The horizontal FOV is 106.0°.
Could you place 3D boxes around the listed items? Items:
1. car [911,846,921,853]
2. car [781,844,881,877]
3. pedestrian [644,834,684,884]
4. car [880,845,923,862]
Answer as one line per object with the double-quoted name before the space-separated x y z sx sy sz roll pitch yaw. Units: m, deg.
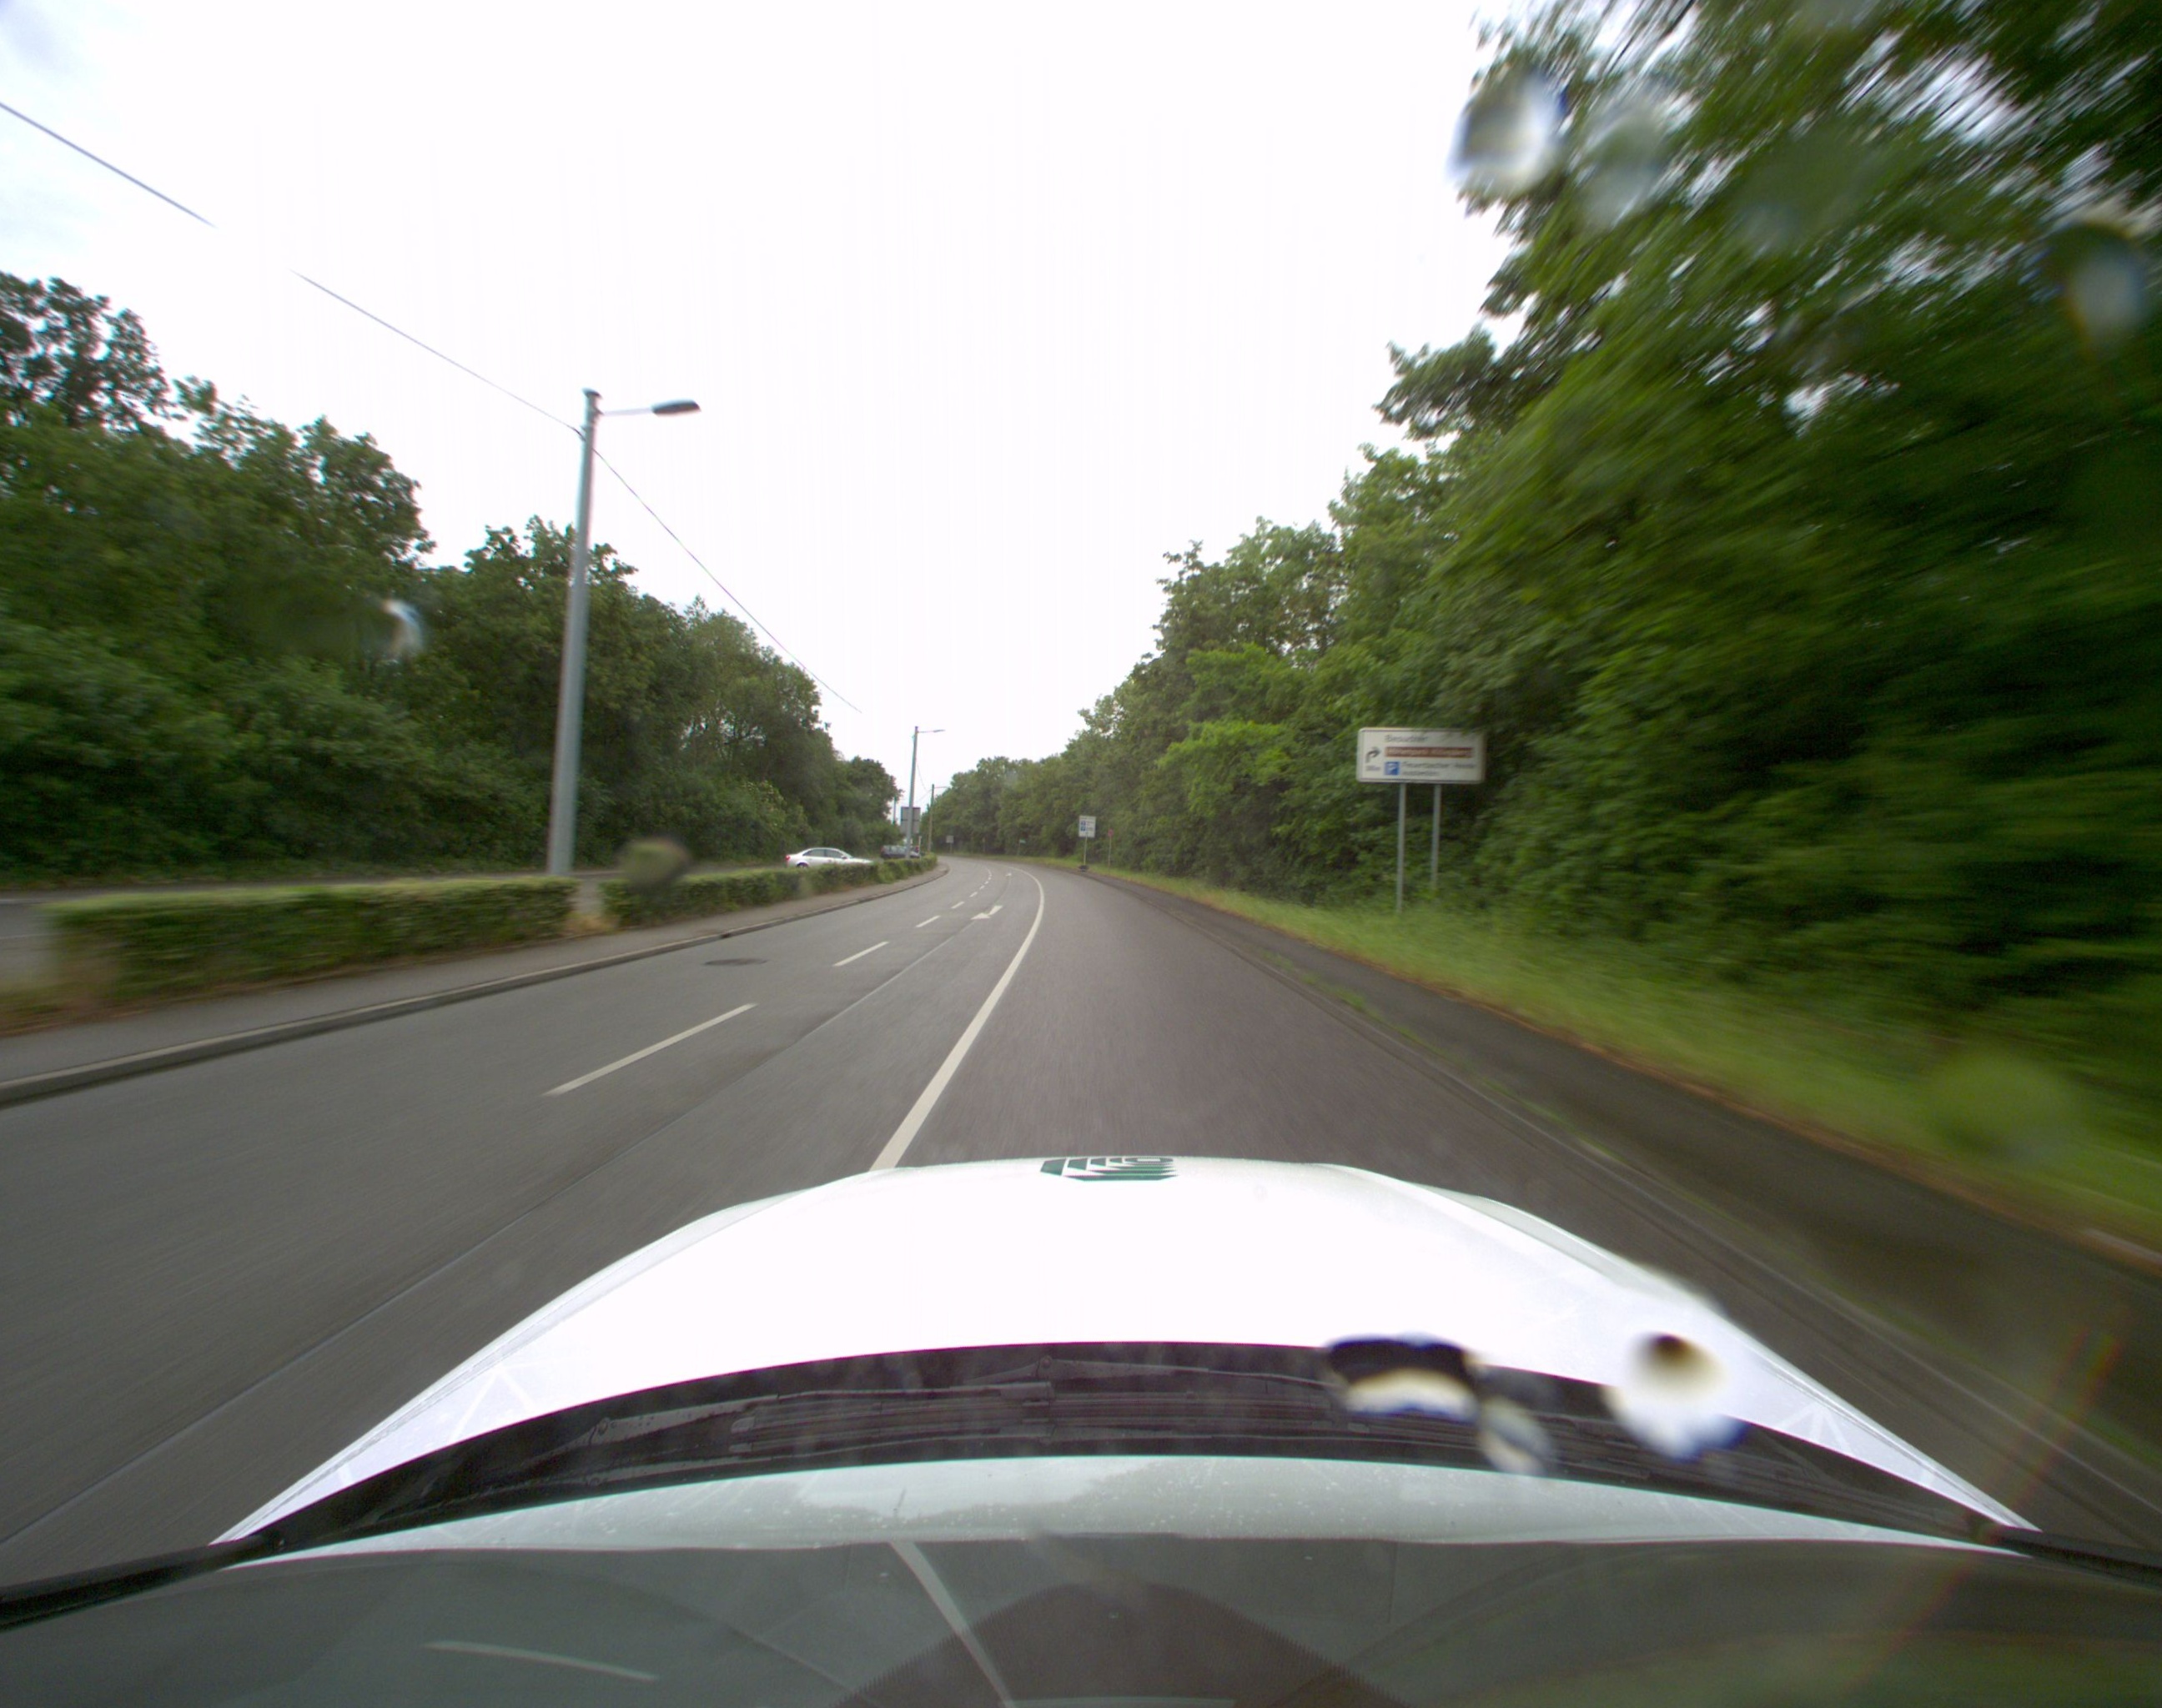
"car" -36.362 -0.921 179.329 1.939 1.498 4.295 1 0 -16
"car" -12.571 0.325 41.273 4.576 1.506 1.993 1 0 -11
"pedestrian" -15.236 0.173 29.770 0.814 1.797 1.136 1 0 1
"car" -19.155 -0.039 87.038 4.288 1.708 1.995 1 0 -8
